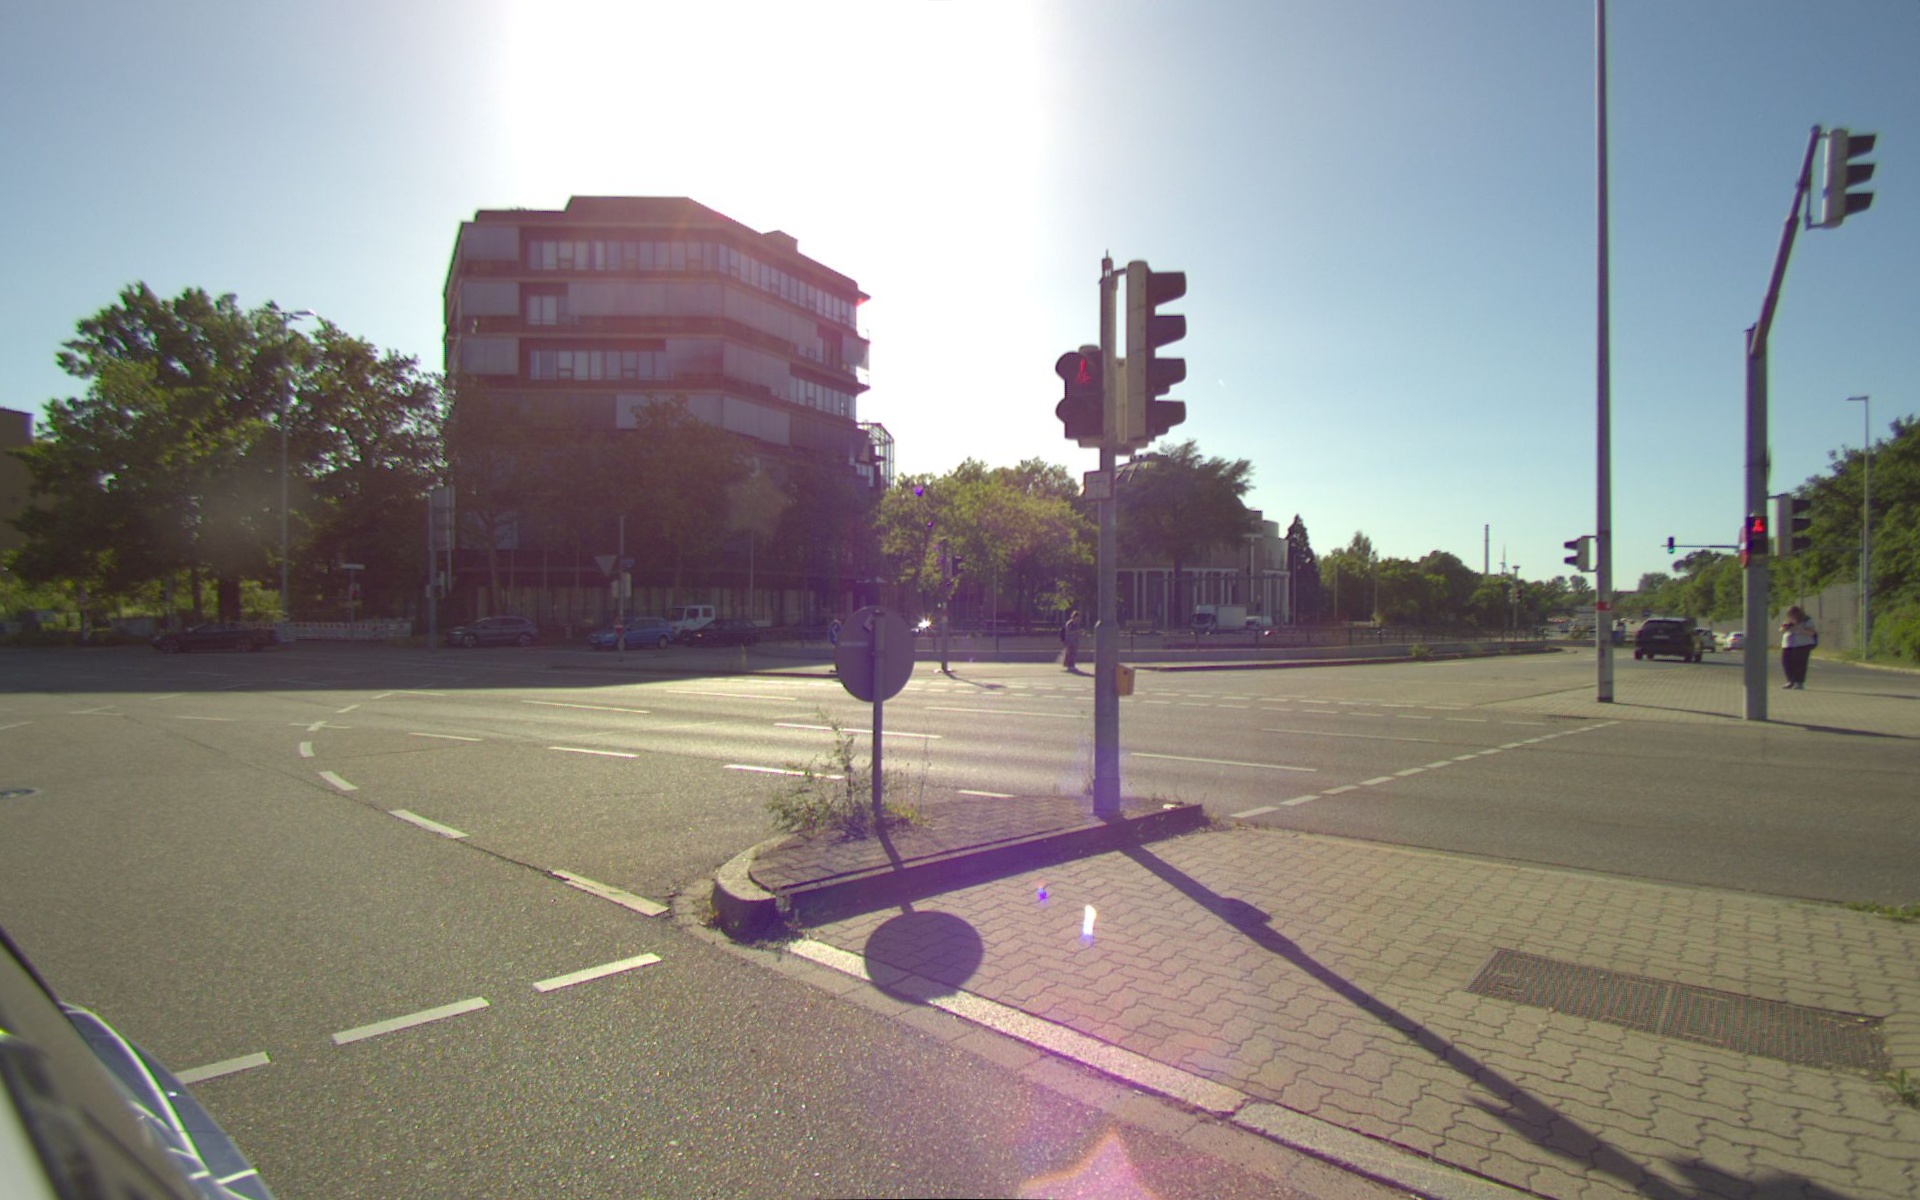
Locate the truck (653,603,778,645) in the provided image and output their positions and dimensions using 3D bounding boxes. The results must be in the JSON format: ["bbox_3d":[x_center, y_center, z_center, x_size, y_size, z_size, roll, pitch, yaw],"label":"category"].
[{"bbox_3d":[-14.761,1.423,61.576,7.403,2.378,2.165,1,-1,-45],"label":"truck"}]

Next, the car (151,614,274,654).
[{"bbox_3d":[-33.488,1.512,45.461,4.124,1.713,1.821,0,-1,-21],"label":"car"}]

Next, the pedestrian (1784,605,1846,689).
[{"bbox_3d":[16.190,0.870,19.171,0.716,1.559,0.713,0,-1,-35],"label":"pedestrian"}]

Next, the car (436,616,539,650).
[{"bbox_3d":[-24.209,1.660,51.917,4.440,1.657,1.882,0,-1,-42],"label":"car"}]

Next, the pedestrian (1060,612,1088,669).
[{"bbox_3d":[3.038,1.070,27.000,0.695,1.474,0.679,-1,-1,11],"label":"pedestrian"}]

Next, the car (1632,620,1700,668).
[{"bbox_3d":[27.675,1.668,39.628,1.878,1.722,4.141,-1,-1,39],"label":"car"}]

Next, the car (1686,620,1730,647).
[{"bbox_3d":[45.536,2.025,61.597,1.998,1.519,3.948,-2,-2,38],"label":"car"}]

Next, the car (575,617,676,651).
[{"bbox_3d":[-16.029,1.591,48.711,1.946,1.552,4.408,-1,-1,33],"label":"car"}]

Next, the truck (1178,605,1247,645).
[{"bbox_3d":[26.484,2.500,105.807,3.845,3.825,9.232,-1,0,35],"label":"truck"}]

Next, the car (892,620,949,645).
[{"bbox_3d":[-2.893,2.370,74.853,1.814,1.713,4.138,-1,-1,42],"label":"car"}]

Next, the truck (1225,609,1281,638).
[{"bbox_3d":[33.355,2.612,115.096,3.845,3.039,7.657,-1,0,35],"label":"truck"}]

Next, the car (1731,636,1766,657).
[{"bbox_3d":[55.090,3.226,70.758,1.783,1.426,4.265,-1,-2,37],"label":"car"}]

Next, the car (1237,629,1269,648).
[{"bbox_3d":[29.384,3.813,101.485,1.738,1.696,4.001,1,1,37],"label":"car"}]

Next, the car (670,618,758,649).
[{"bbox_3d":[-12.999,1.735,53.676,1.946,1.552,4.408,-1,-1,33],"label":"car"}]
